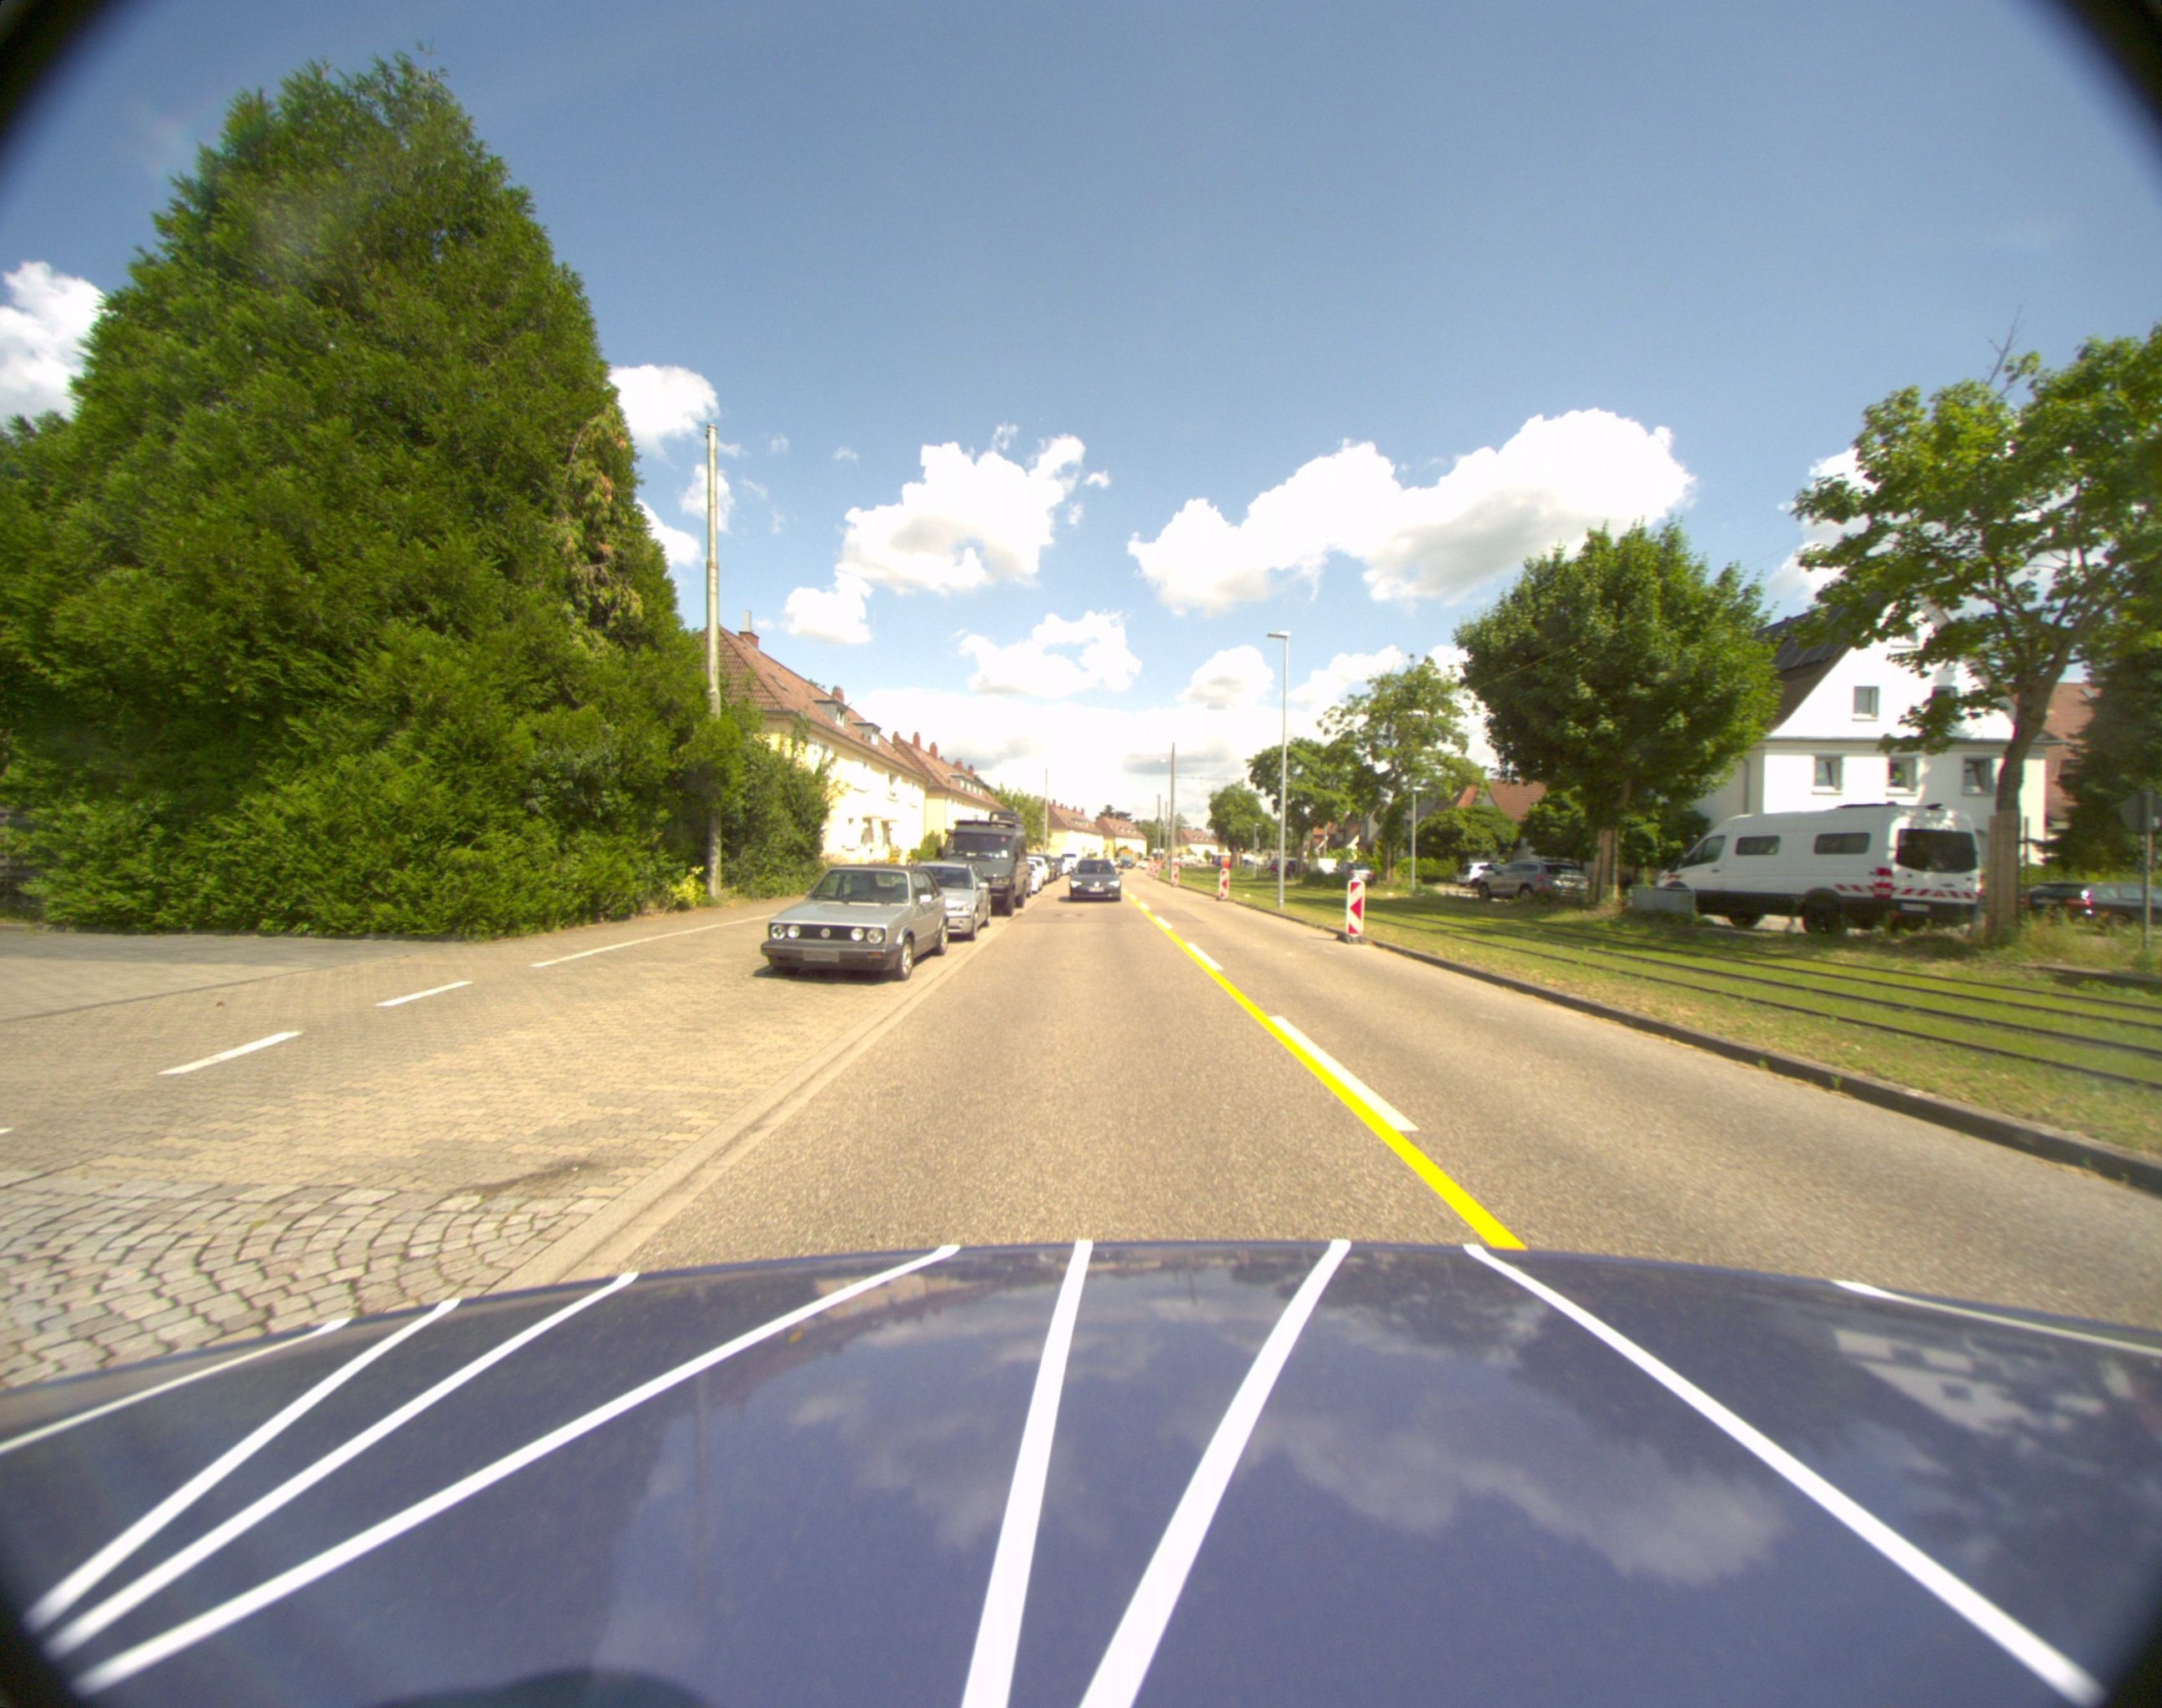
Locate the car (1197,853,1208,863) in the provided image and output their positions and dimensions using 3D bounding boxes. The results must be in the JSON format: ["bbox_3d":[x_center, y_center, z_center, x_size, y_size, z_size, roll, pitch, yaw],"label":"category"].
[{"bbox_3d":[29.153,0.949,182.763,1.693,2.417,3.580,2,0,23],"label":"car"}]

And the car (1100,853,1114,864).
[{"bbox_3d":[3.830,0.648,112.381,1.512,1.490,3.577,2,1,10],"label":"car"}]

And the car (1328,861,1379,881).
[{"bbox_3d":[16.554,1.015,46.366,1.785,1.087,3.836,2,1,1],"label":"car"}]

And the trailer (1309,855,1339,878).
[{"bbox_3d":[16.537,0.839,51.849,1.302,1.510,2.282,2,0,1],"label":"trailer"}]

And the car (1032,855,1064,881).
[{"bbox_3d":[-2.056,0.828,48.080,1.689,1.429,4.516,3,1,1],"label":"car"}]

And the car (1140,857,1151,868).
[{"bbox_3d":[11.533,1.471,135.691,1.997,1.791,4.002,1,0,6],"label":"car"}]

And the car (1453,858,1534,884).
[{"bbox_3d":[25.870,1.083,47.790,3.997,1.518,2.001,2,-2,1],"label":"car"}]

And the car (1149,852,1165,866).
[{"bbox_3d":[11.144,0.730,111.188,1.943,1.931,4.565,3,0,10],"label":"car"}]

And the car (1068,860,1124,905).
[{"bbox_3d":[0.467,0.929,26.405,1.786,1.412,4.290,0,0,-1],"label":"car"}]

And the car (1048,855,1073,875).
[{"bbox_3d":[-1.635,0.839,62.355,1.756,1.480,4.628,2,0,1],"label":"car"}]

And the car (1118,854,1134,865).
[{"bbox_3d":[6.765,0.865,113.345,1.997,1.566,4.003,1,0,9],"label":"car"}]

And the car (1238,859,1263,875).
[{"bbox_3d":[19.119,1.442,85.825,1.998,1.531,4.323,2,1,4],"label":"car"}]

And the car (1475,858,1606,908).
[{"bbox_3d":[16.335,0.972,27.350,1.998,1.497,4.486,2,1,1],"label":"car"}]

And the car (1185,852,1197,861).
[{"bbox_3d":[25.029,0.557,172.464,1.838,2.043,3.875,2,1,22],"label":"car"}]

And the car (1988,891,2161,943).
[{"bbox_3d":[27.847,1.693,20.598,3.997,1.154,2.046,2,1,1],"label":"car"}]

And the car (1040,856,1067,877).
[{"bbox_3d":[-2.021,0.879,57.325,1.701,1.421,3.898,2,1,2],"label":"car"}]

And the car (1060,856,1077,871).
[{"bbox_3d":[-1.145,0.893,70.838,1.358,1.299,3.543,2,1,2],"label":"car"}]

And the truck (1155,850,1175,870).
[{"bbox_3d":[15.064,1.014,135.106,2.700,3.346,8.057,2,0,11],"label":"truck"}]

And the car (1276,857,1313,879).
[{"bbox_3d":[17.348,1.137,61.967,1.910,1.568,4.102,5,-1,2],"label":"car"}]

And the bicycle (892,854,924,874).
[{"bbox_3d":[-9.632,0.533,42.226,1.693,1.096,0.290,1,0,1],"label":"bicycle"}]

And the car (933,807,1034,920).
[{"bbox_3d":[-2.573,0.231,21.267,2.001,2.744,4.879,2,0,1],"label":"car"}]

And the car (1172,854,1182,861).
[{"bbox_3d":[19.990,0.726,157.869,1.511,1.490,3.579,2,0,16],"label":"car"}]

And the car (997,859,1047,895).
[{"bbox_3d":[-2.408,0.929,31.927,1.725,1.287,4.128,2,0,0],"label":"car"}]

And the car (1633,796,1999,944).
[{"bbox_3d":[16.142,0.301,17.485,1.999,2.714,6.462,2,0,-1],"label":"car"}]

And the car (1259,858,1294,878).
[{"bbox_3d":[17.248,1.221,67.143,1.998,1.531,4.322,2,1,2],"label":"car"}]

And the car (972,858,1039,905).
[{"bbox_3d":[-2.532,0.878,26.602,1.725,1.394,4.837,2,0,1],"label":"car"}]

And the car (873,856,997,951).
[{"bbox_3d":[-2.739,0.857,15.174,1.696,1.507,4.355,2,1,-1],"label":"car"}]

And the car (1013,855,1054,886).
[{"bbox_3d":[-2.375,0.814,38.447,1.653,1.410,4.026,2,0,2],"label":"car"}]

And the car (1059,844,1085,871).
[{"bbox_3d":[-0.821,0.377,75.553,1.923,2.522,5.346,2,0,5],"label":"car"}]

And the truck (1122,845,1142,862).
[{"bbox_3d":[9.521,-0.172,140.316,2.530,2.931,7.867,2,1,11],"label":"truck"}]

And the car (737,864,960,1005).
[{"bbox_3d":[-2.912,0.922,10.480,1.655,1.423,4.096,2,1,2],"label":"car"}]

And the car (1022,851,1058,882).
[{"bbox_3d":[-2.268,0.680,43.098,1.683,1.620,4.271,2,0,0],"label":"car"}]
